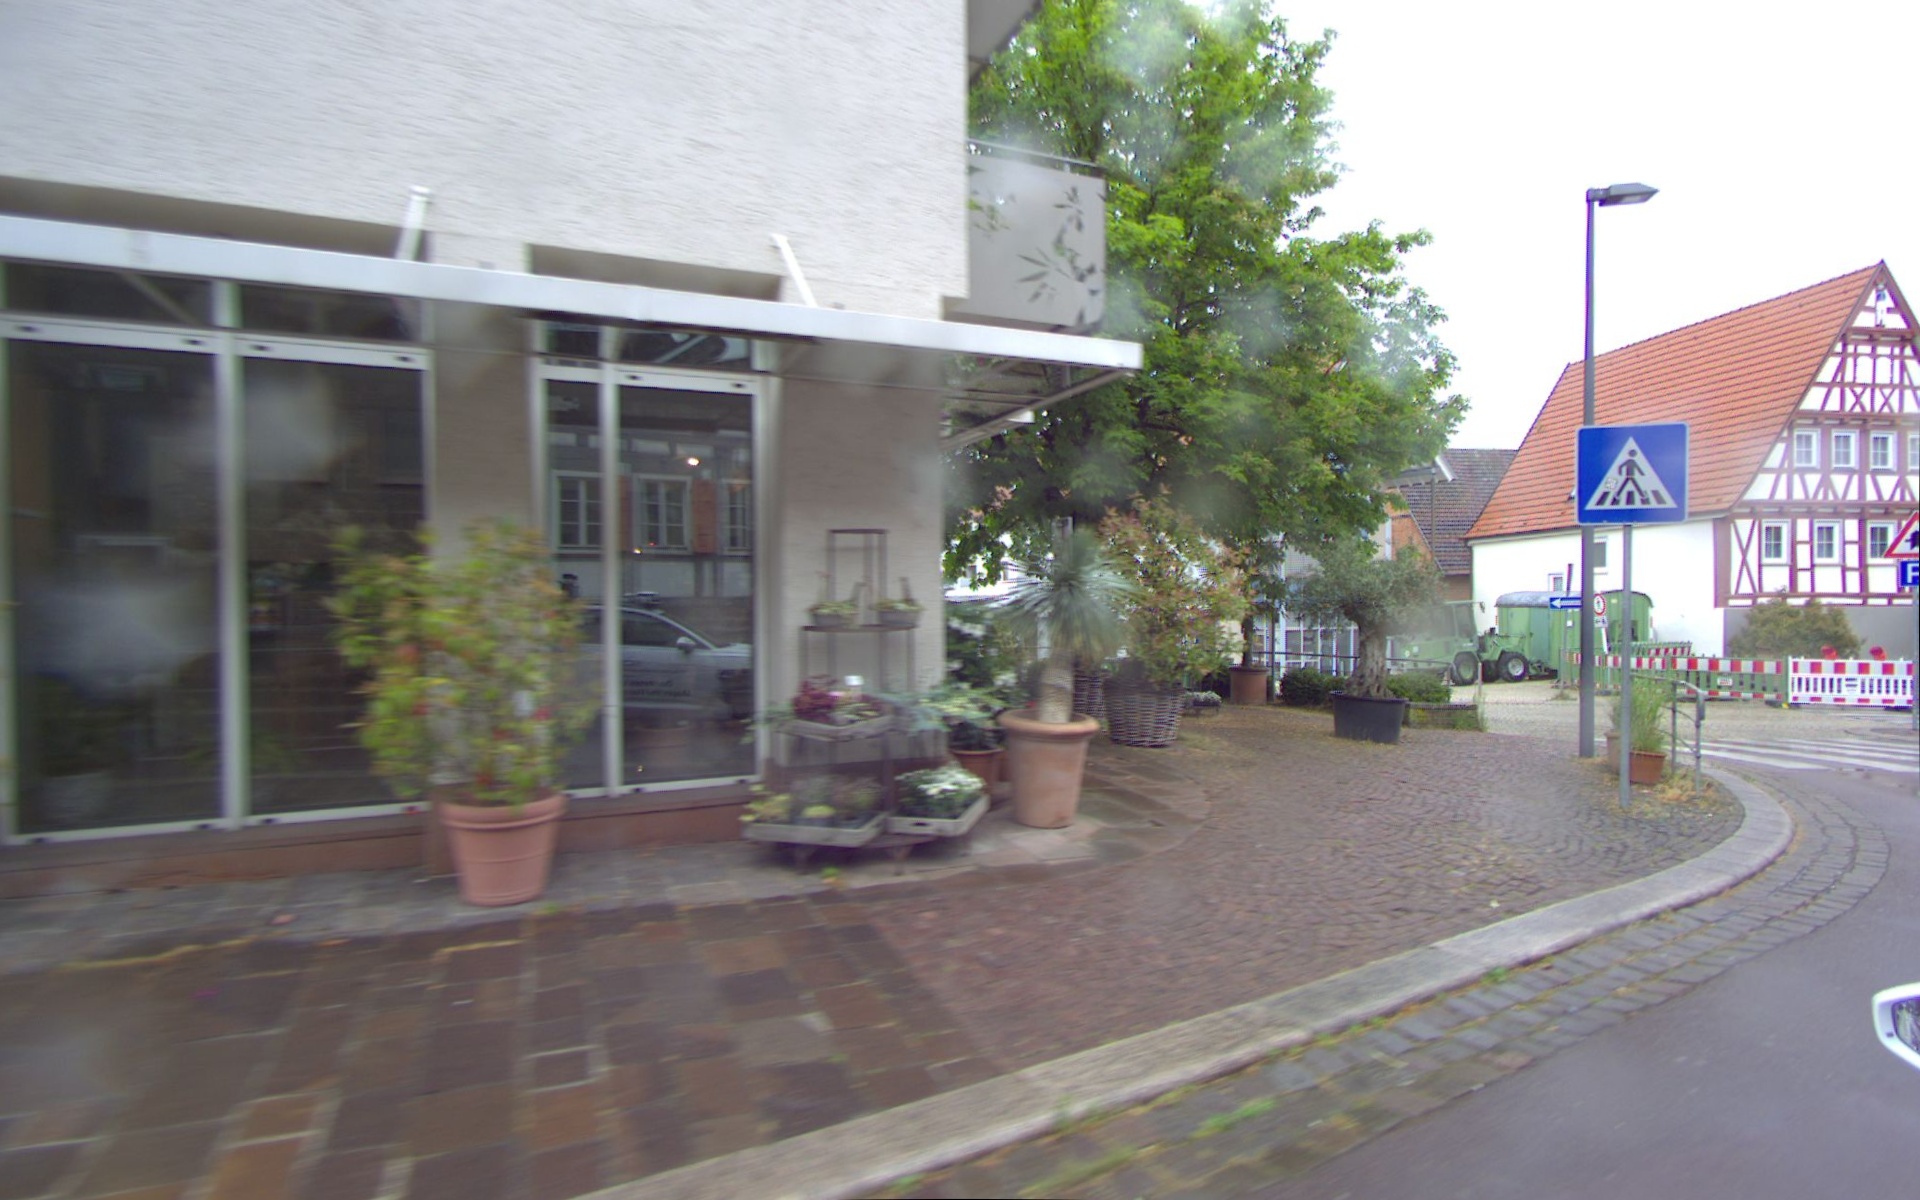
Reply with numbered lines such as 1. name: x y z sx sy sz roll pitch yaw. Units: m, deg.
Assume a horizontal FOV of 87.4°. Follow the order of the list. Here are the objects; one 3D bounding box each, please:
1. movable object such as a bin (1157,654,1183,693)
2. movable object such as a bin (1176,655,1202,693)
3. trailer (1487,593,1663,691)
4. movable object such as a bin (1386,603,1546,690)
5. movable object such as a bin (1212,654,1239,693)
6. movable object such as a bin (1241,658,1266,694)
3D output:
1. movable object such as a bin: 6.579 2.288 31.436 0.557 1.175 0.544 1 -3 -43
2. movable object such as a bin: 7.050 2.288 30.957 0.557 1.141 0.535 1 -3 -43
3. trailer: 19.601 1.261 32.324 2.446 2.874 4.626 1 0 -8
4. movable object such as a bin: 16.015 1.459 31.871 4.215 2.587 1.908 0 -2 -12
5. movable object such as a bin: 7.948 2.184 30.035 0.557 1.141 0.544 1 -3 -43
6. movable object such as a bin: 8.634 2.229 29.550 0.491 1.004 0.559 -3 -3 38
